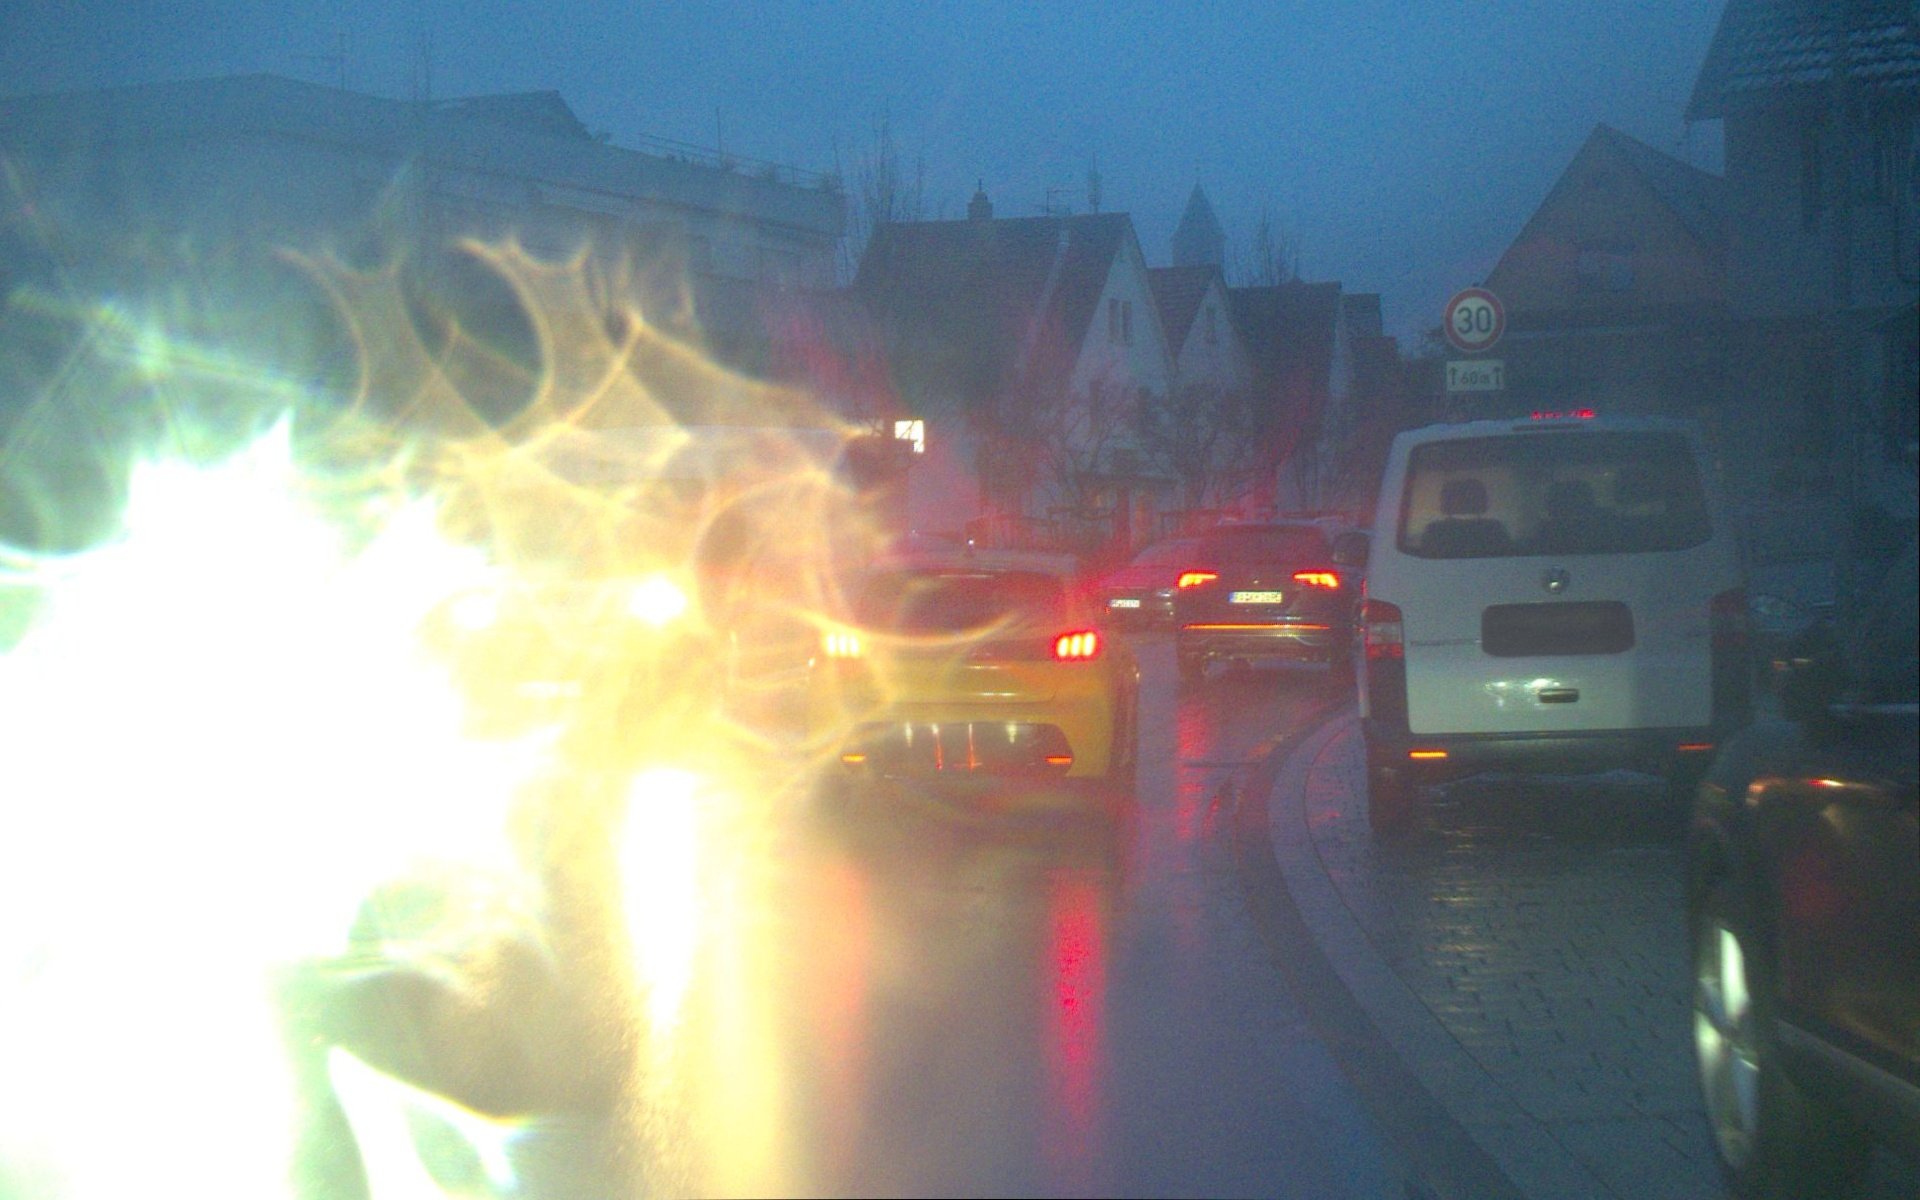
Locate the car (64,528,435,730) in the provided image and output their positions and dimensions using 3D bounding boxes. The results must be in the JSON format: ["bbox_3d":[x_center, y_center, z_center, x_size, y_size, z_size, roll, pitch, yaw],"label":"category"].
[{"bbox_3d":[-5.774,0.179,28.474,1.905,1.528,4.255,0,1,4],"label":"car"}]

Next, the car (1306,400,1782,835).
[{"bbox_3d":[2.906,0.025,18.113,1.973,1.953,4.851,-1,1,4],"label":"car"}]

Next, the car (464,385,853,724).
[{"bbox_3d":[-2.334,-0.402,28.513,2.195,2.482,6.142,-1,1,4],"label":"car"}]

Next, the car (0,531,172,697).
[{"bbox_3d":[-9.774,0.101,33.995,3.997,1.525,1.995,1,2,44],"label":"car"}]

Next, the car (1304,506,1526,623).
[{"bbox_3d":[7.539,-0.614,56.573,1.948,1.744,4.843,-3,0,28],"label":"car"}]

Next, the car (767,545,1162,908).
[{"bbox_3d":[0.107,0.614,19.932,1.993,1.789,4.648,-1,1,2],"label":"car"}]

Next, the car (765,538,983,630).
[{"bbox_3d":[-1.528,-0.262,59.745,1.734,1.472,4.088,-2,0,-36],"label":"car"}]

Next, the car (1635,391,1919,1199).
[{"bbox_3d":[2.537,0.466,5.764,1.974,1.655,4.460,-1,1,1],"label":"car"}]

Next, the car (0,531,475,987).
[{"bbox_3d":[-3.238,0.509,13.990,1.826,1.513,4.548,-2,1,0],"label":"car"}]

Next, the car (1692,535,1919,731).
[{"bbox_3d":[7.639,0.240,30.141,1.734,1.556,3.663,-2,1,2],"label":"car"}]

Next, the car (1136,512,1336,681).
[{"bbox_3d":[2.930,-0.069,35.853,1.798,1.656,3.999,0,1,8],"label":"car"}]
